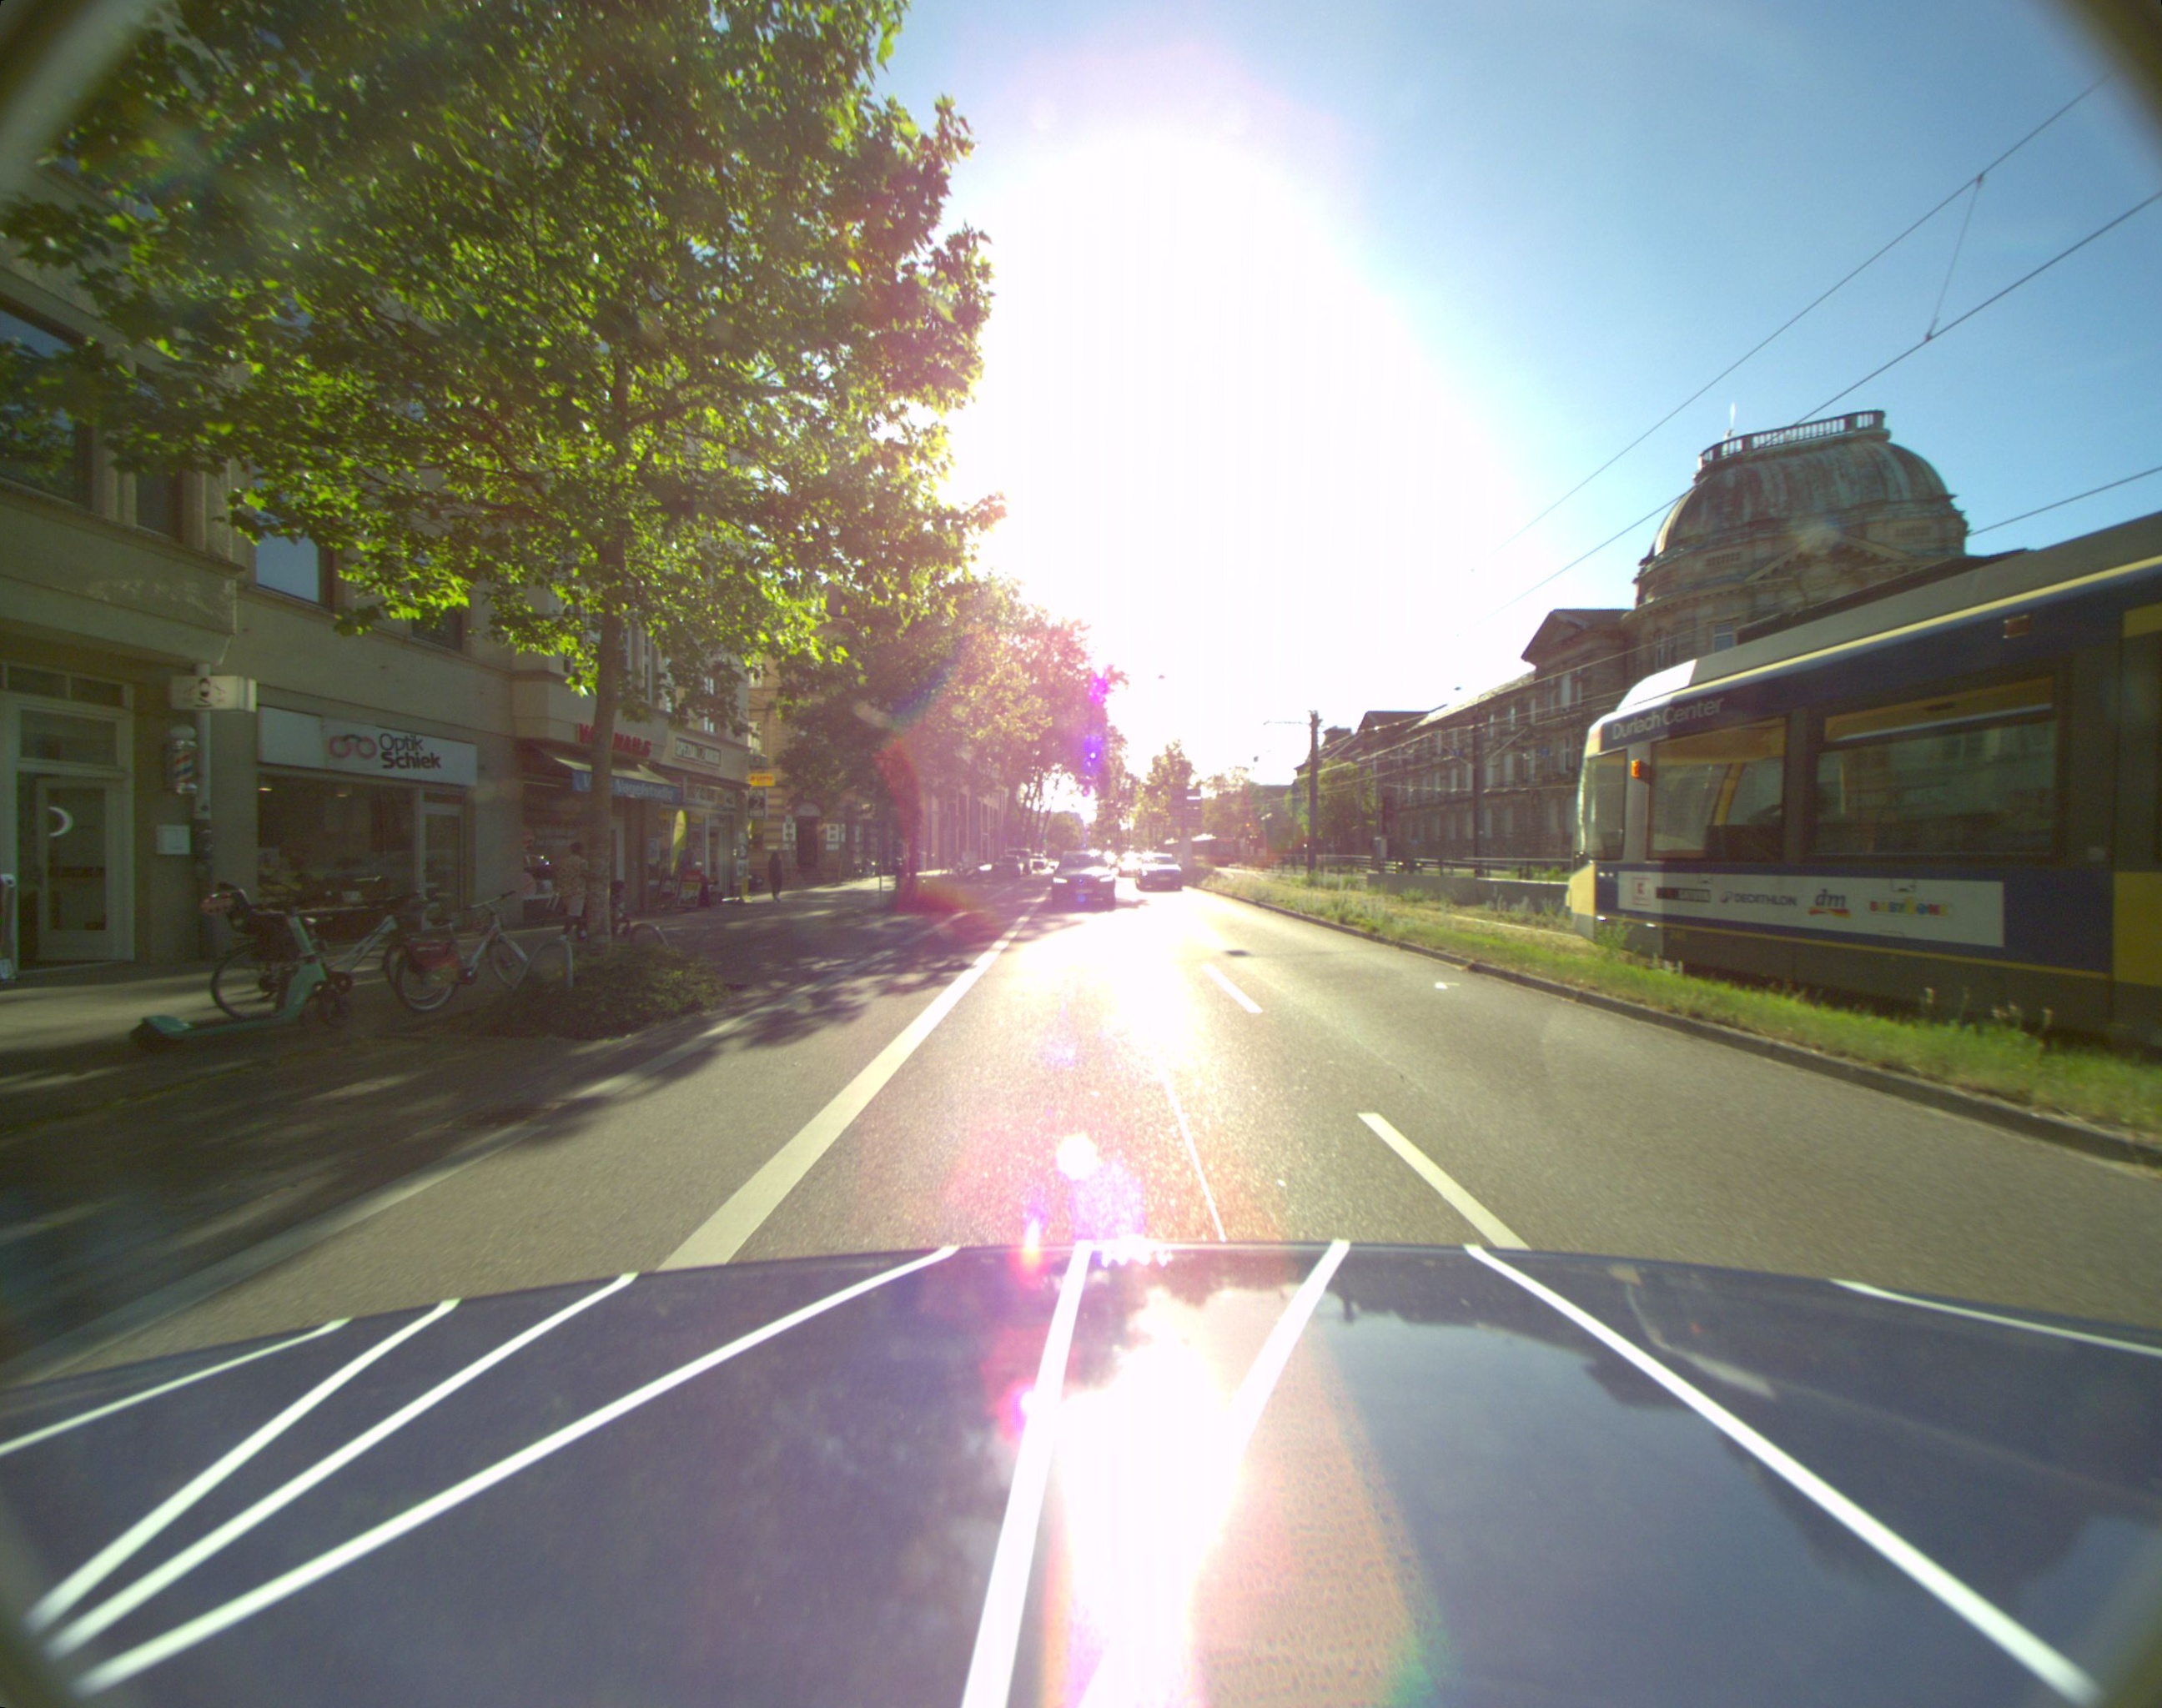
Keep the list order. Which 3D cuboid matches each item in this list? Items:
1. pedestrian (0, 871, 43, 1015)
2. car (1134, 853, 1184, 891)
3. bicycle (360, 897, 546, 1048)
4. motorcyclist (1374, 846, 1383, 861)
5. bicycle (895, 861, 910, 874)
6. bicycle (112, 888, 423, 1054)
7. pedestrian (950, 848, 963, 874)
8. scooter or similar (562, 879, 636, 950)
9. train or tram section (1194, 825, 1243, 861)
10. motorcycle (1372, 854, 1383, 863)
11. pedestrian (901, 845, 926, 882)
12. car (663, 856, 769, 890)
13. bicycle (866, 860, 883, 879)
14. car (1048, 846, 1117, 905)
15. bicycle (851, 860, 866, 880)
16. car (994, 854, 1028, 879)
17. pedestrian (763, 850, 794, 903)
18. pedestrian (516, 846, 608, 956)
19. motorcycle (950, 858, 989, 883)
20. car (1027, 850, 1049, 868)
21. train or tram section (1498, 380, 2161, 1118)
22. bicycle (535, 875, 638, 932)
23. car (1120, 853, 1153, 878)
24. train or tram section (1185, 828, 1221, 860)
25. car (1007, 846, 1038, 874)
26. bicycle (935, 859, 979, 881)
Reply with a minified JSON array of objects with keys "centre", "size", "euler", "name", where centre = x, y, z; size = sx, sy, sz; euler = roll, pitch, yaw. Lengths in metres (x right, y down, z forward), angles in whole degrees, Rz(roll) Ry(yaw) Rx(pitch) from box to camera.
[{"centre":[-10.712,0.857,7.110],"size":[0.787,1.361,0.857],"euler":[0,1,1],"name":"pedestrian"},{"centre":[3.222,0.706,32.088],"size":[1.777,1.440,3.869],"euler":[-2,0,1],"name":"car"},{"centre":[-6.303,1.121,7.776],"size":[0.393,1.208,1.902],"euler":[0,2,-3],"name":"bicycle"},{"centre":[26.170,-0.037,66.937],"size":[0.515,1.250,0.691],"euler":[-2,1,4],"name":"motorcyclist"},{"centre":[-11.627,0.857,49.531],"size":[0.550,0.769,1.662],"euler":[1,1,0],"name":"bicycle"},{"centre":[-7.238,0.965,6.912],"size":[0.386,1.200,1.876],"euler":[-1,1,23],"name":"bicycle"},{"centre":[-8.701,0.480,53.129],"size":[0.644,1.817,0.895],"euler":[-2,1,7],"name":"pedestrian"},{"centre":[-8.419,1.038,13.300],"size":[0.746,1.165,0.849],"euler":[1,1,-3],"name":"scooter or similar"},{"centre":[14.464,-1.135,80.901],"size":[2.969,3.463,11.285],"euler":[-2,0,-1],"name":"train or tram section"},{"centre":[26.185,0.380,67.082],"size":[0.369,0.779,1.522],"euler":[-2,1,3],"name":"motorcycle"},{"centre":[-9.249,0.500,42.021],"size":[1.090,2.002,1.046],"euler":[-1,1,1],"name":"pedestrian"},{"centre":[-16.051,0.843,33.490],"size":[3.917,1.403,1.637],"euler":[-1,0,6],"name":"car"},{"centre":[-11.430,0.867,42.091],"size":[0.415,0.992,1.882],"euler":[-1,1,0],"name":"bicycle"},{"centre":[0.044,0.610,24.483],"size":[1.949,1.690,5.305],"euler":[-1,0,0],"name":"car"},{"centre":[-11.757,0.851,40.181],"size":[0.280,1.014,1.730],"euler":[0,1,0],"name":"bicycle"},{"centre":[-4.616,0.778,50.657],"size":[1.823,1.506,4.707],"euler":[-2,1,0],"name":"car"},{"centre":[-9.437,0.706,23.701],"size":[0.683,1.612,0.562],"euler":[-2,1,-2],"name":"pedestrian"},{"centre":[-8.361,0.729,12.277],"size":[0.861,1.695,0.916],"euler":[1,1,-2],"name":"pedestrian"},{"centre":[-5.892,0.850,40.243],"size":[1.954,1.224,0.515],"euler":[-2,1,-3],"name":"motorcycle"},{"centre":[-4.179,0.462,73.911],"size":[1.672,1.561,4.280],"euler":[-2,1,2],"name":"car"},{"centre":[7.037,-0.568,2.870],"size":[2.936,3.790,14.271],"euler":[-2,1,0],"name":"train or tram section"},{"centre":[-10.527,1.011,16.313],"size":[0.491,1.018,2.622],"euler":[0,1,0],"name":"bicycle"},{"centre":[3.456,0.678,48.074],"size":[1.798,1.420,4.000],"euler":[-2,1,1],"name":"car"},{"centre":[14.329,-1.140,89.664],"size":[2.964,3.463,6.058],"euler":[-2,0,-1],"name":"train or tram section"},{"centre":[-4.396,0.402,57.923],"size":[1.861,2.002,4.723],"euler":[-2,1,1],"name":"car"},{"centre":[-6.696,0.871,41.063],"size":[2.227,1.087,0.455],"euler":[-2,1,2],"name":"bicycle"}]
